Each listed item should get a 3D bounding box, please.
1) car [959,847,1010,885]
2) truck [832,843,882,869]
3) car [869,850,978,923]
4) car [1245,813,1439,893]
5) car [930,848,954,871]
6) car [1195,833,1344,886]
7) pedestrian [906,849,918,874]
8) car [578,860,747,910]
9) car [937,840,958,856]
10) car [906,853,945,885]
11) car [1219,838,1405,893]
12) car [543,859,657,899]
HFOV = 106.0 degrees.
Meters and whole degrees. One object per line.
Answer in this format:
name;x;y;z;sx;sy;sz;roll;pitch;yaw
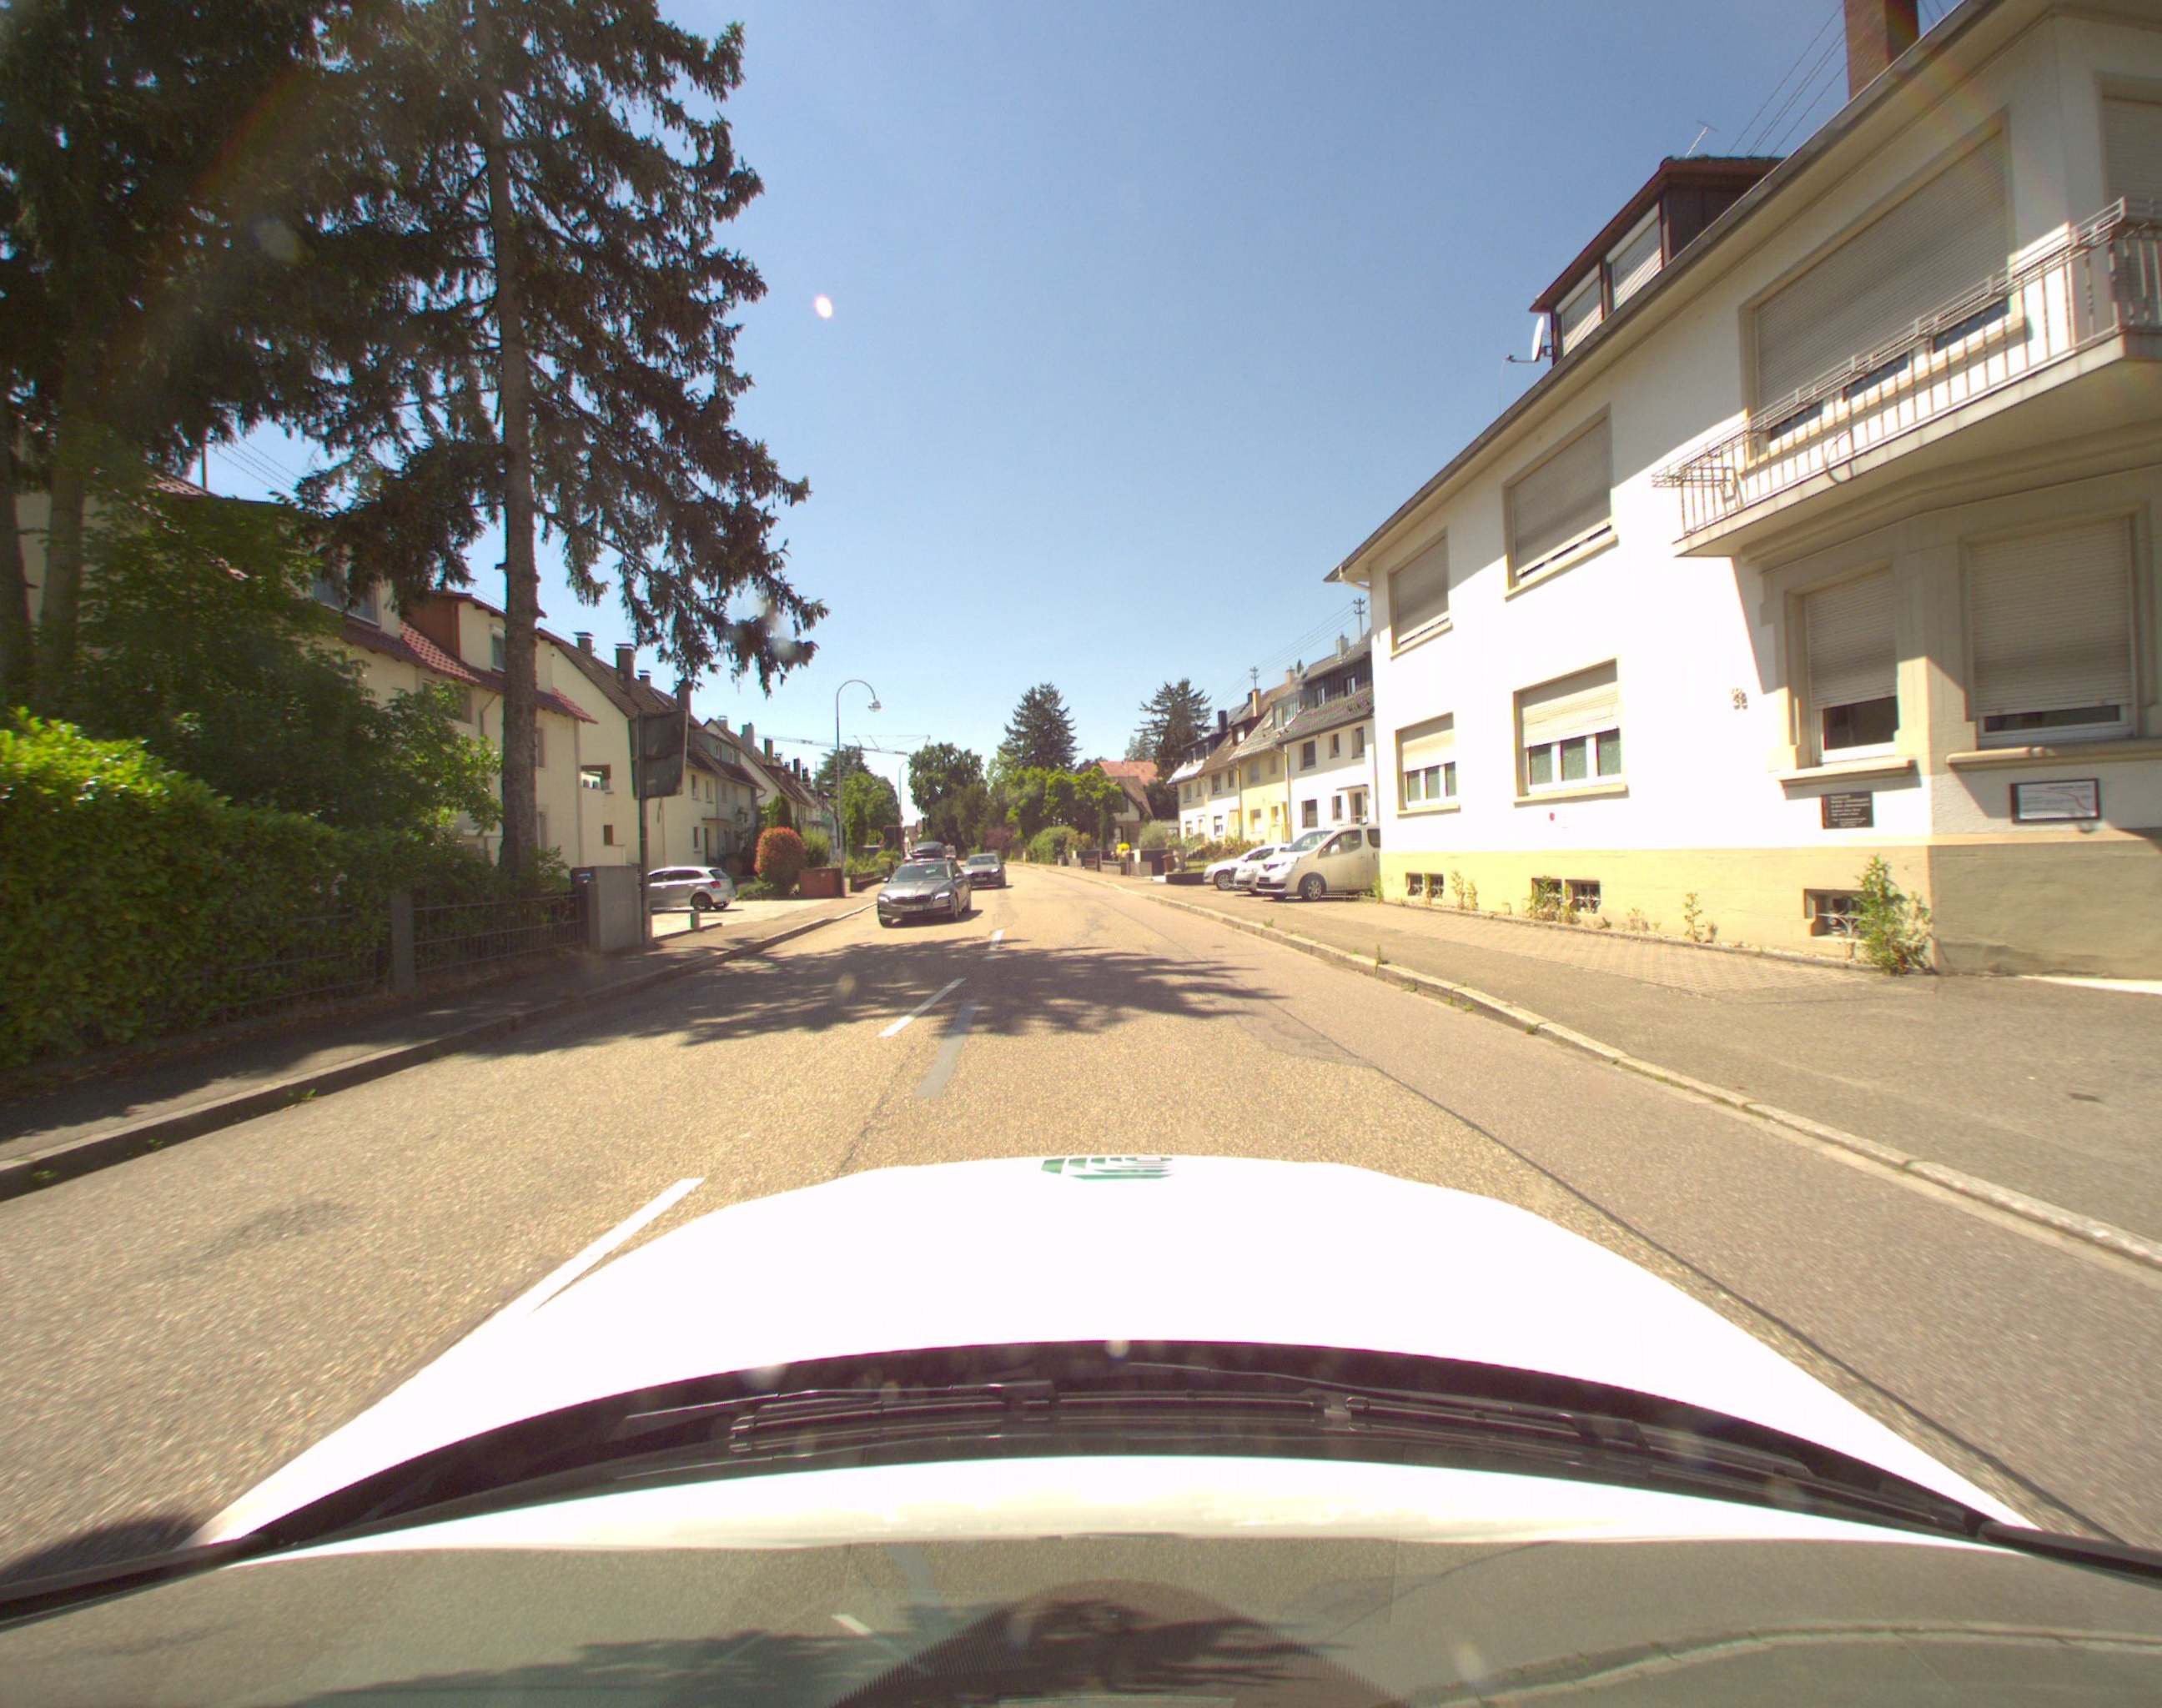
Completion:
car;-4.259;0.480;36.361;1.735;1.505;4.141;-4;0;-1
truck;-18.514;0.159;67.526;3.770;1.937;1.540;-3;1;-11
car;-3.765;0.700;20.248;1.801;1.488;4.385;-4;0;-1
car;6.379;-0.016;20.020;4.296;1.831;1.731;1;0;-14
car;-11.304;0.416;66.416;1.723;1.736;3.874;-5;1;-10
car;5.896;0.175;25.511;4.251;1.548;1.766;0;-1;26
pedestrian;-12.852;0.565;61.894;0.688;1.890;1.017;2;-1;-4
car;-13.422;0.971;26.336;4.458;1.441;1.845;-1;0;-3
car;-20.858;-0.875;127.306;2.151;2.315;4.819;-4;1;-20
car;-7.908;0.723;41.648;1.577;1.423;3.931;-5;1;-7
car;6.318;0.316;22.526;4.632;1.409;1.766;1;0;-5
car;-20.420;1.049;34.698;3.783;1.536;1.642;-1;1;-9
